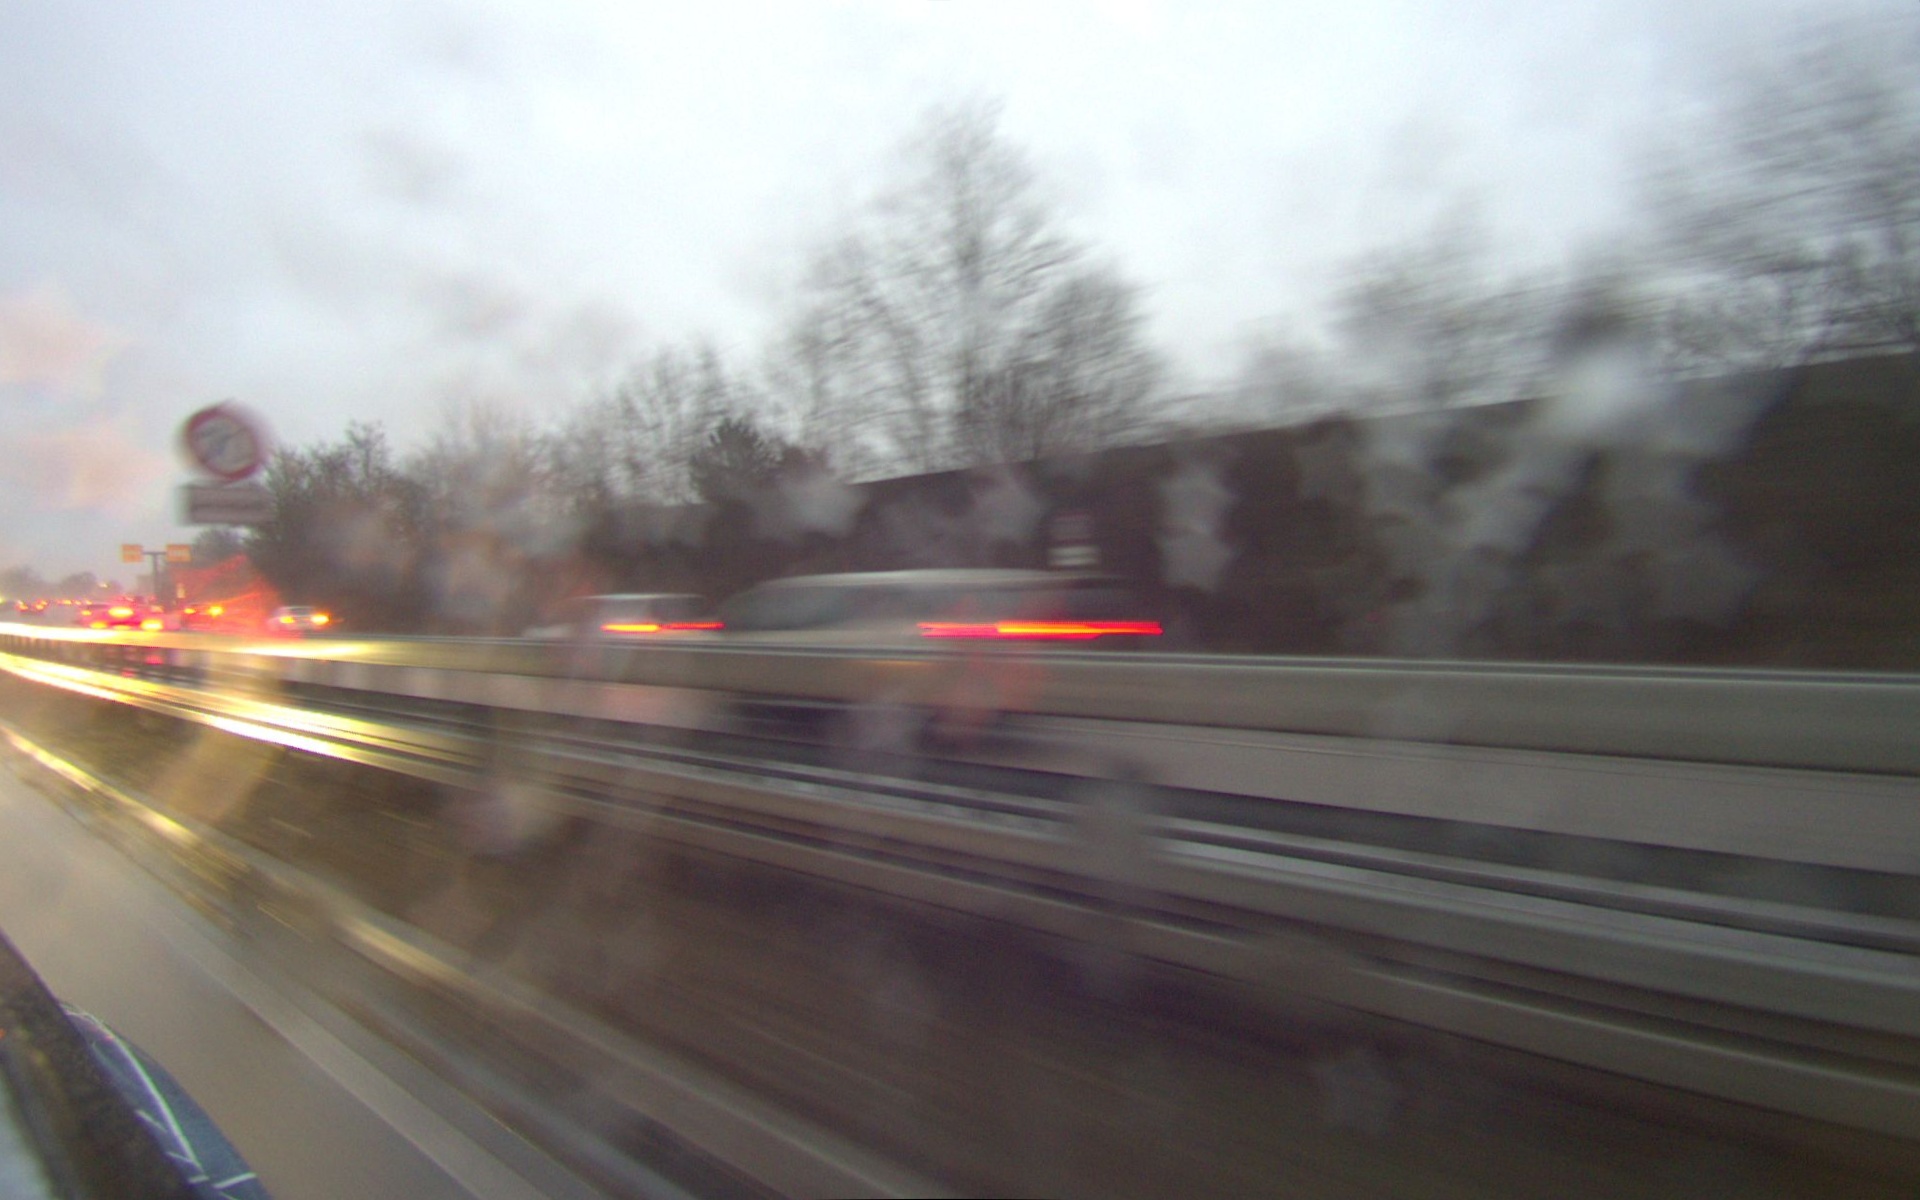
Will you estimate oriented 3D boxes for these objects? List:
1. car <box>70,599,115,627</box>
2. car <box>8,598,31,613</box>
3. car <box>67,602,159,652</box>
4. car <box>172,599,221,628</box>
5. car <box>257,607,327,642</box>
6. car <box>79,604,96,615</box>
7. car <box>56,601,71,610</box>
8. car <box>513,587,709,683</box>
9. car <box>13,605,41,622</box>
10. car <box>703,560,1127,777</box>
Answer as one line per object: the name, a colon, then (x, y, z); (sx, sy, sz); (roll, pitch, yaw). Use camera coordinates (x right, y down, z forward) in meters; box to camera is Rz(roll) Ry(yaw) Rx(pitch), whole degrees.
car: (-61.407, 0.903, 71.627); (4.787, 1.846, 1.863); (0, 1, 43)
car: (-101.209, 0.583, 108.870); (3.506, 1.530, 1.635); (0, 1, 45)
car: (-27.349, 0.814, 32.645); (3.999, 1.452, 1.735); (0, 1, 42)
car: (-51.605, 0.887, 68.378); (4.787, 1.846, 1.860); (0, 1, 43)
car: (-32.140, 1.139, 48.665); (4.113, 1.550, 1.843); (0, 1, 43)
car: (-132.067, 1.487, 153.173); (1.684, 1.578, 4.853); (-2, 1, -45)
car: (-149.327, 0.944, 168.589); (1.716, 1.506, 3.846); (-2, 1, -44)
car: (-6.966, 0.608, 19.976); (4.431, 1.678, 1.674); (0, 1, 41)
car: (-90.764, 1.279, 98.420); (4.136, 1.521, 1.763); (0, 1, 44)
car: (-0.565, 0.513, 9.853); (3.997, 1.696, 1.749); (0, 1, 40)
